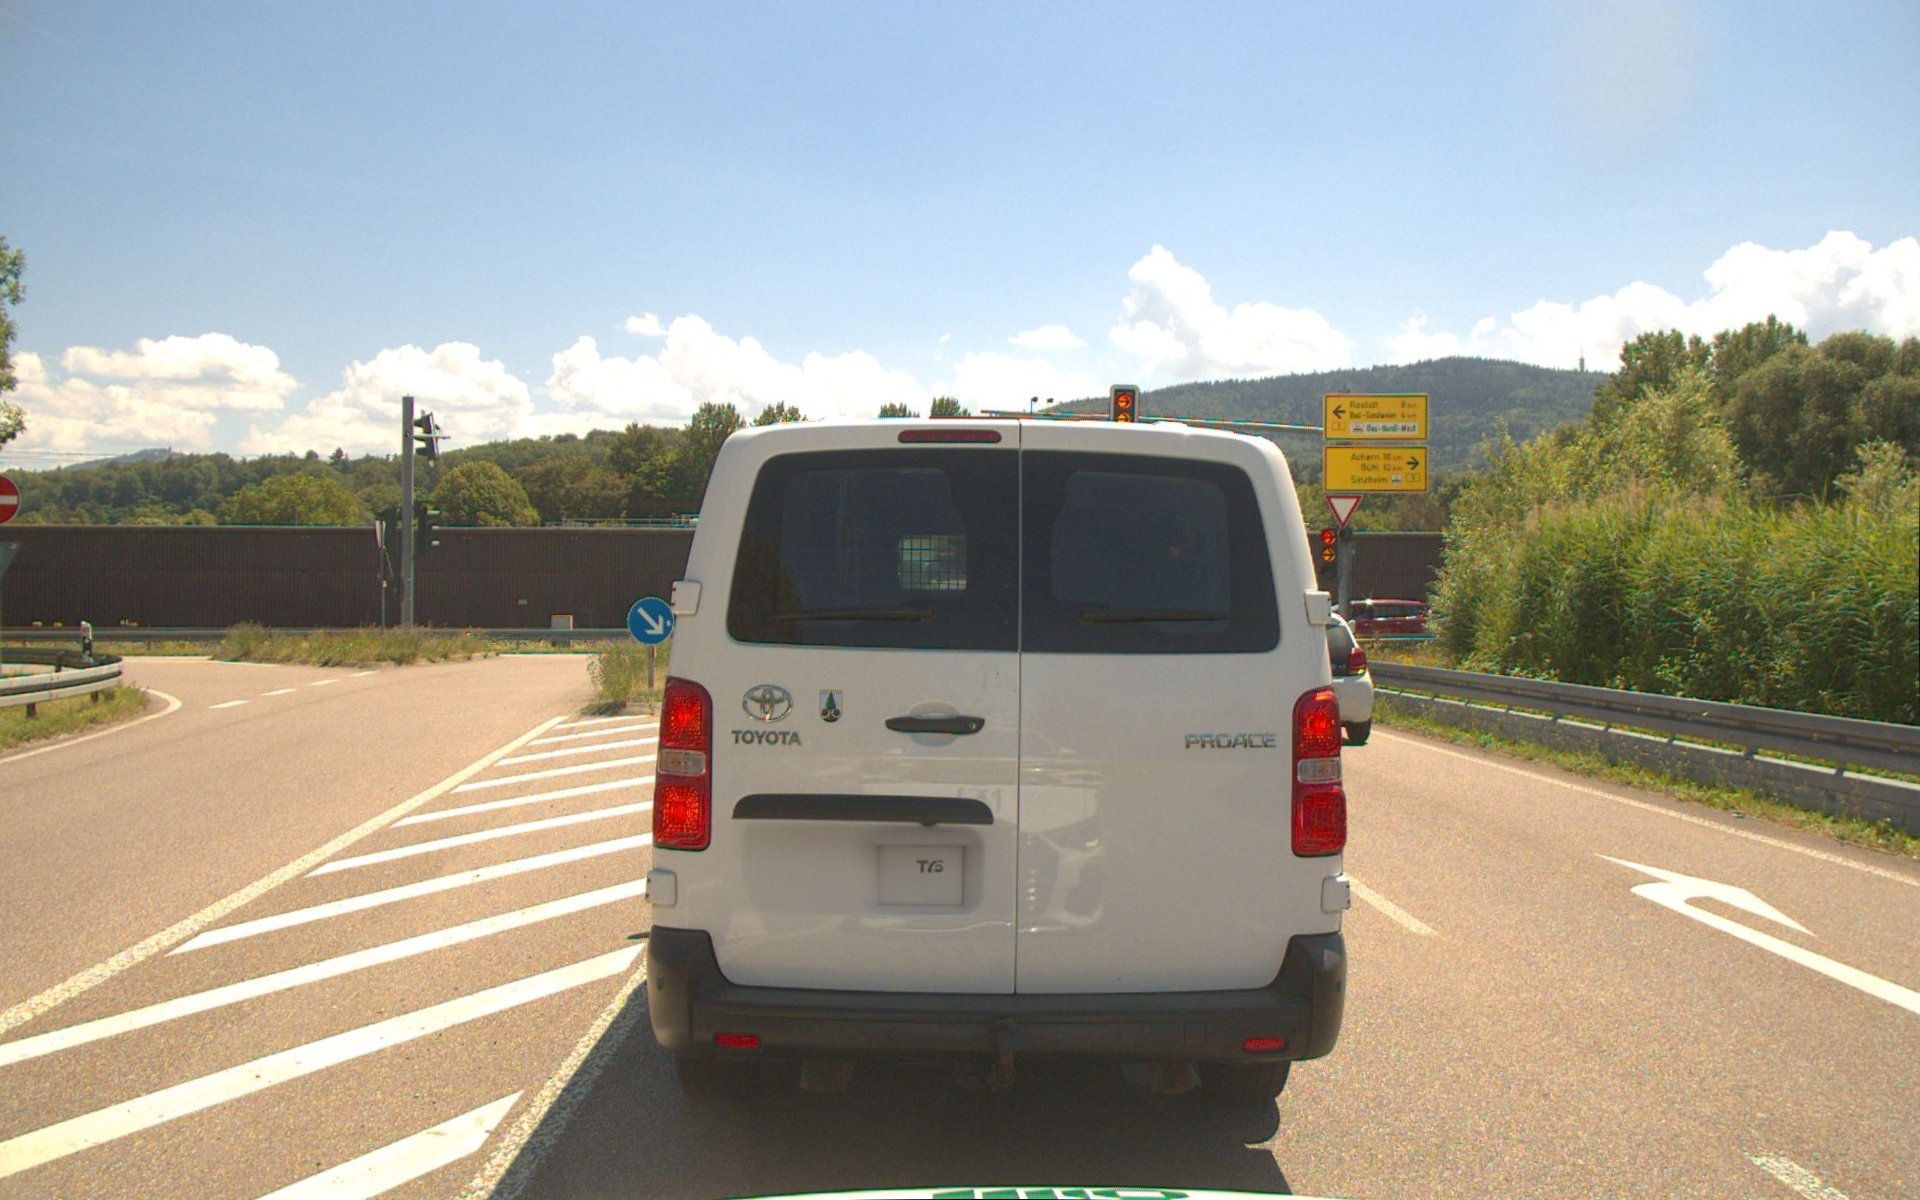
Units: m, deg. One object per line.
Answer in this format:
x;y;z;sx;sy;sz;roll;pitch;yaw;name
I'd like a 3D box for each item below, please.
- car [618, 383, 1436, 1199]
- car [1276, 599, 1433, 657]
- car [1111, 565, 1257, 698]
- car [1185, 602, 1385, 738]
0.116;0.487;5.776;1.848;1.919;3.999;1;0;-1;car
11.891;0.839;49.999;4.225;1.685;1.998;0;0;-4;car
3.715;0.500;28.256;1.889;2.035;4.838;1;0;1;car
3.767;0.768;19.676;1.622;1.456;3.364;1;0;-2;car
